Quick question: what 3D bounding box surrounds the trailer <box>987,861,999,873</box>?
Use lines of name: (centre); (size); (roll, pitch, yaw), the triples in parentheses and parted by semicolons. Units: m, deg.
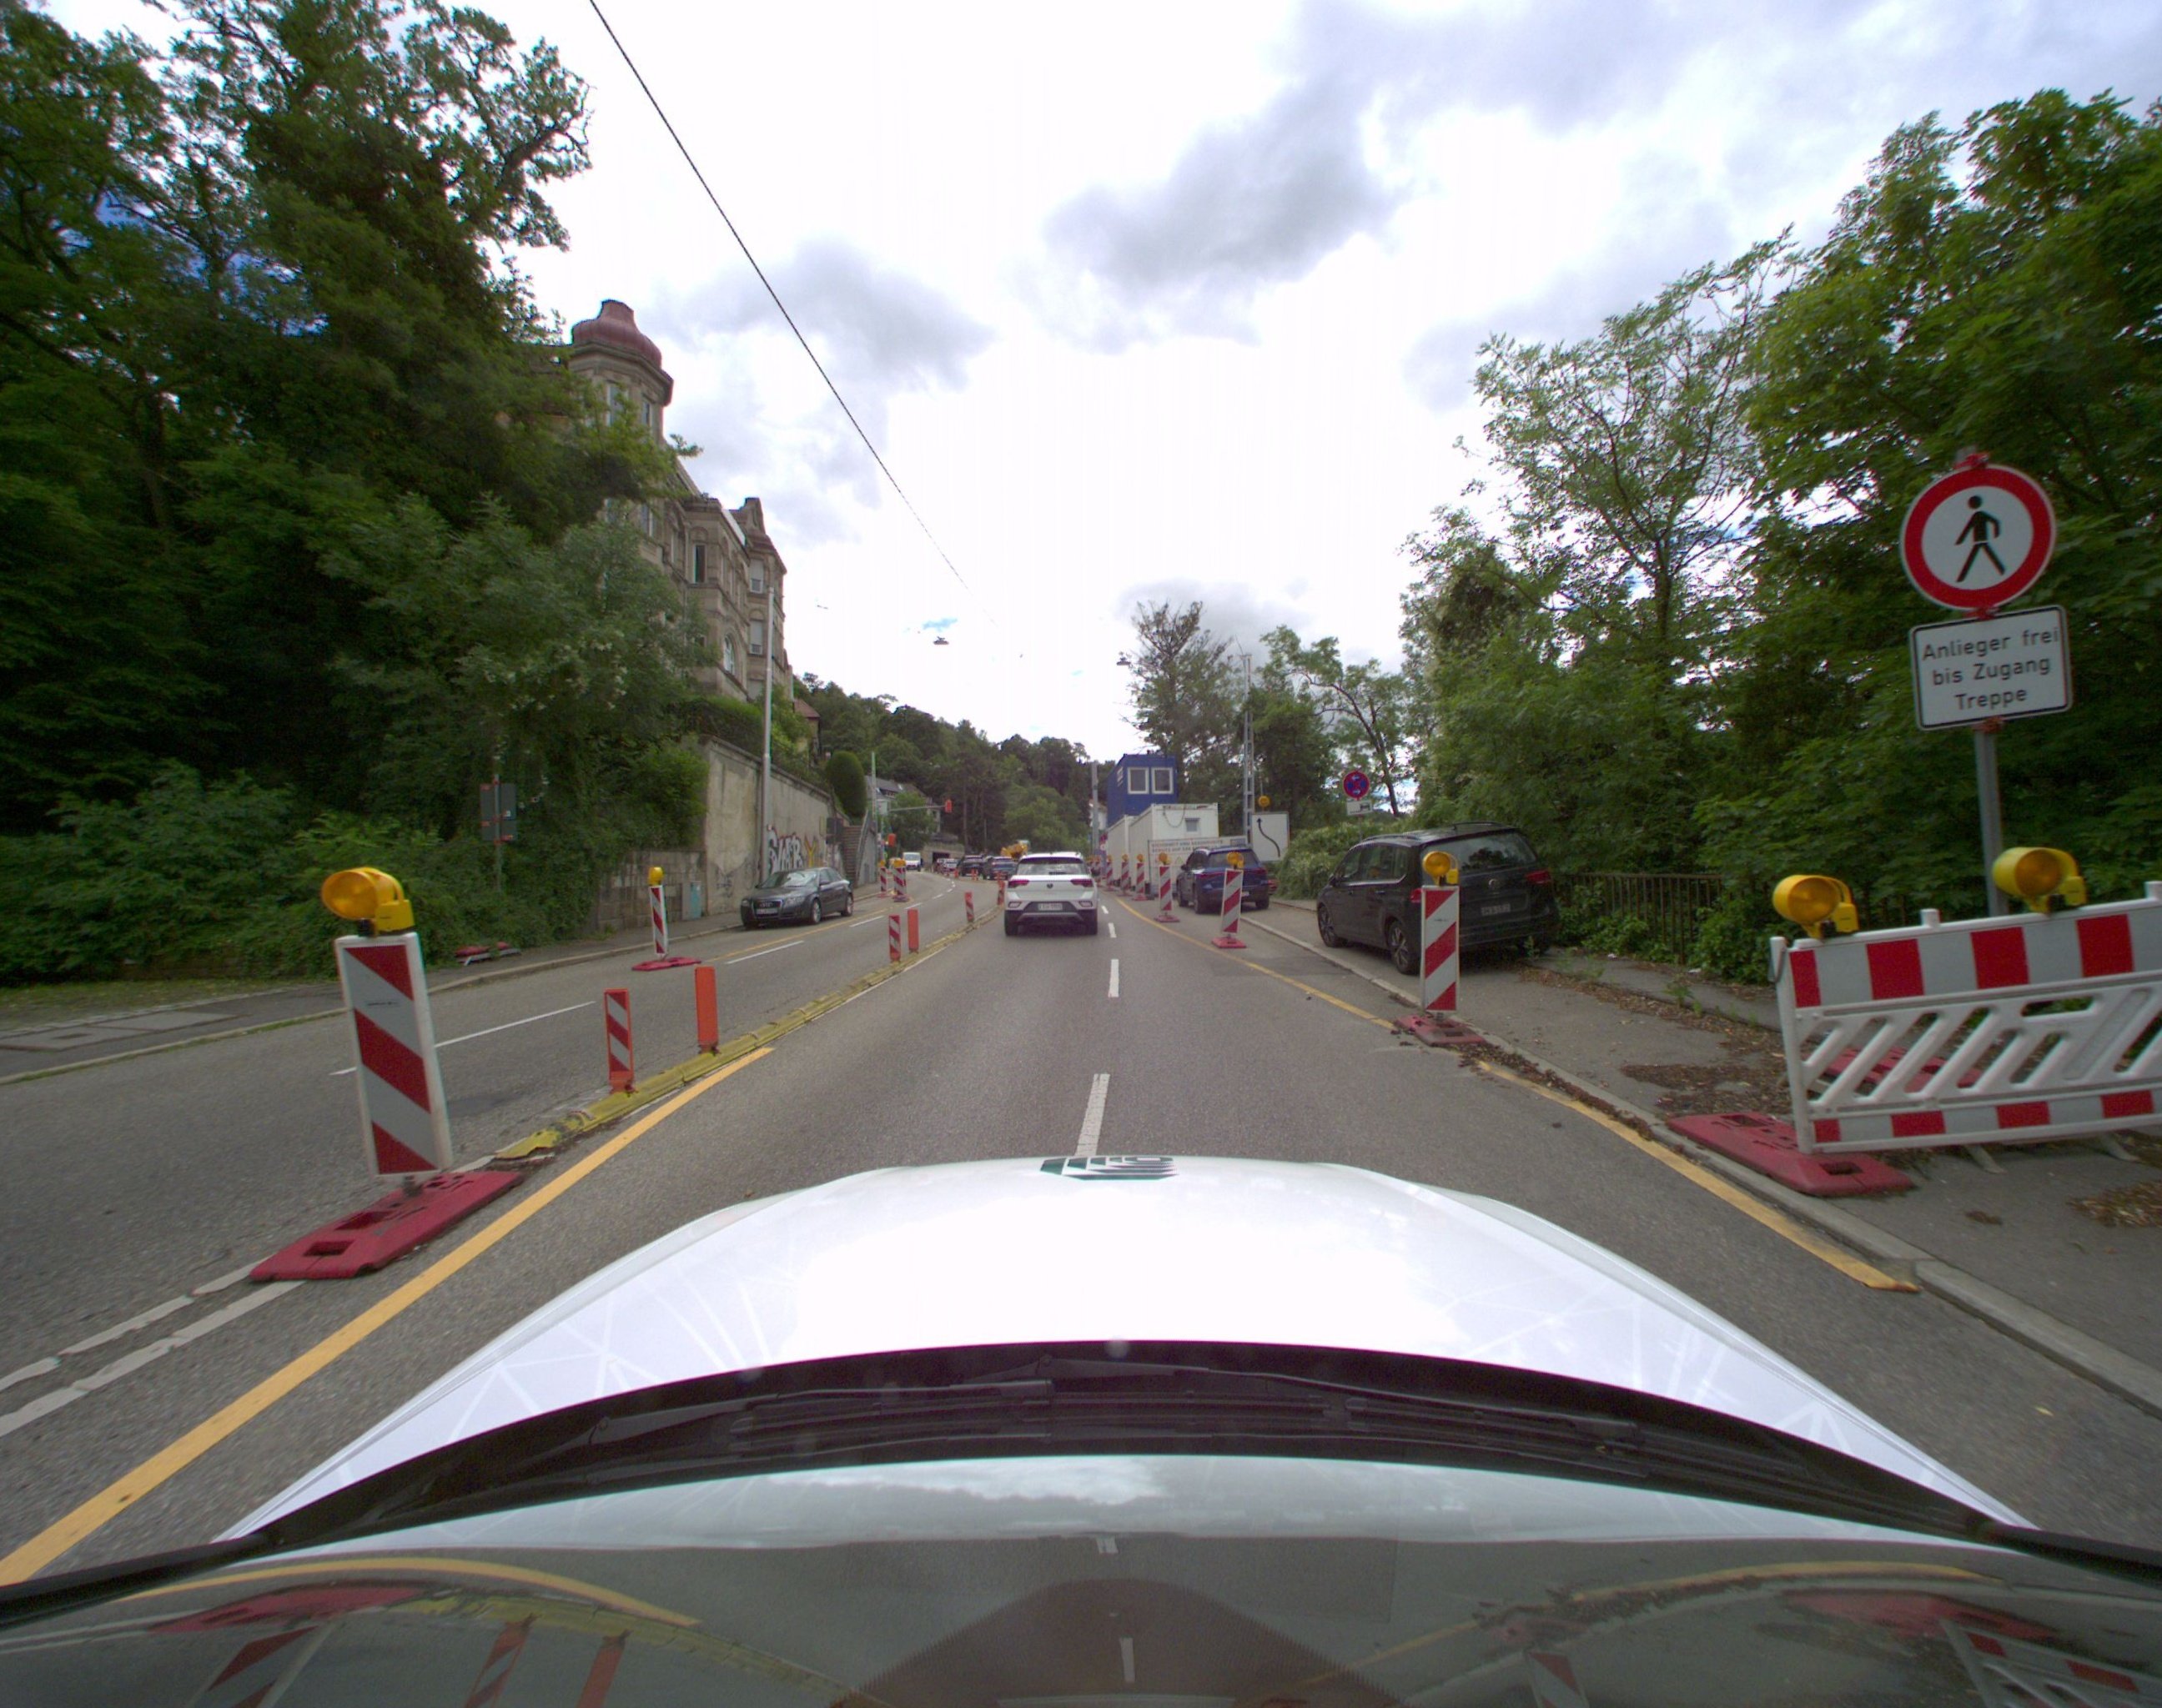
trailer: (-10.478, 1.514, 96.447); (1.288, 1.475, 3.623); (0, 0, -8)

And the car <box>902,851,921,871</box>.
car: (-19.466, 0.777, 93.568); (2.069, 2.187, 4.942); (-2, 0, -12)

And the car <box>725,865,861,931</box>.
car: (-7.246, 1.045, 21.005); (1.793, 1.373, 4.389); (-3, 0, 1)

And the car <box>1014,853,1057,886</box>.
car: (-2.544, 0.822, 44.312); (1.810, 1.663, 3.985); (-1, 0, -11)

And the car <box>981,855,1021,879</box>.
car: (-5.423, 0.873, 54.763); (1.800, 1.510, 3.974); (-1, 0, -19)

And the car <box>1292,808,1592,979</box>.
car: (4.541, 0.435, 11.196); (1.857, 1.674, 4.644); (-6, 0, -1)

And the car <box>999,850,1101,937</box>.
car: (-0.556, 0.722, 16.738); (1.804, 1.531, 3.999); (-1, 0, 0)

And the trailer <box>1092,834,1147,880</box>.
trailer: (2.225, 0.165, 49.251); (2.108, 2.550, 5.099); (-2, 0, -11)

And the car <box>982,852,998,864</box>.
car: (-11.622, 0.493, 104.048); (1.795, 1.510, 3.985); (-1, -1, -11)

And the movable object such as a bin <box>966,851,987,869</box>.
movable object such as a bin: (-15.394, 0.910, 120.617); (2.203, 2.663, 4.948); (0, 0, 3)

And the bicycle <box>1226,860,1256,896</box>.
bicycle: (5.236, 0.766, 26.682); (0.497, 1.107, 1.798); (-3, 0, -2)

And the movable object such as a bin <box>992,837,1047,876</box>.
movable object such as a bin: (-5.279, 0.249, 68.430); (2.820, 3.071, 7.773); (1, -1, -19)

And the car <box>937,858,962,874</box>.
car: (-13.124, 1.207, 80.984); (1.799, 1.510, 3.975); (-2, 0, -18)

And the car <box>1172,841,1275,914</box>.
car: (3.680, 0.565, 21.813); (1.834, 1.642, 4.500); (-3, 0, -1)

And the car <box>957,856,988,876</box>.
car: (-8.828, 0.965, 65.895); (1.799, 1.510, 3.975); (-2, 0, -18)

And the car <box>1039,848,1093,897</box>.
car: (-0.589, 0.646, 30.242); (1.805, 1.663, 3.996); (-1, 0, -2)
